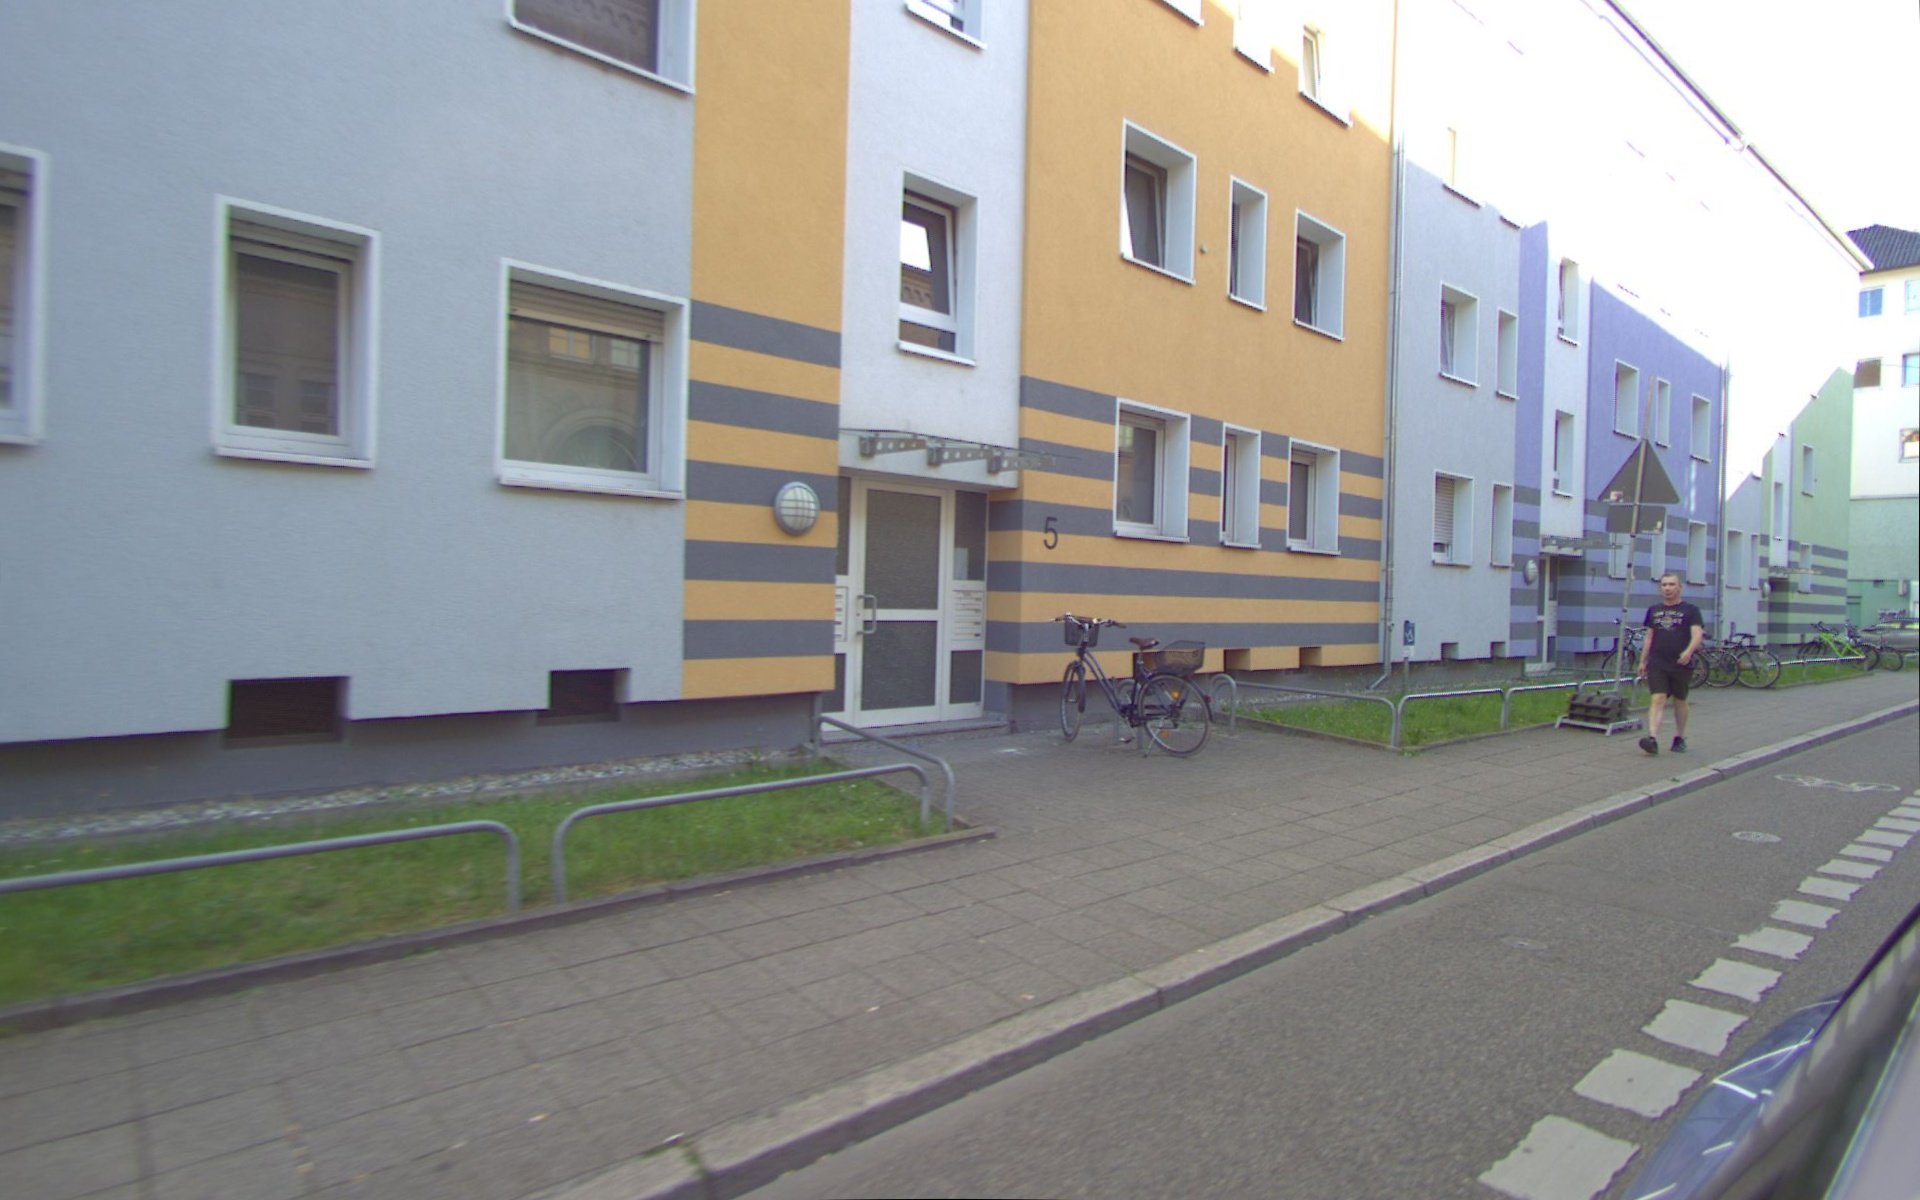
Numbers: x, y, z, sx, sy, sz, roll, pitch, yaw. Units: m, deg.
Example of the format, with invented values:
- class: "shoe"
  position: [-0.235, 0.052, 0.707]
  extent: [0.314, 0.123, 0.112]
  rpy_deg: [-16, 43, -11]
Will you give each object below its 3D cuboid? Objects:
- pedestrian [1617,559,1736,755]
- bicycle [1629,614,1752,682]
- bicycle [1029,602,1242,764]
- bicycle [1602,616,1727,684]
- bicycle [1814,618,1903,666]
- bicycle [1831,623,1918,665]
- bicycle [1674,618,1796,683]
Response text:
- class: "pedestrian"
  position: [7.088, 0.531, 10.016]
  extent: [0.899, 1.810, 0.646]
  rpy_deg: [1, 3, -41]
- class: "bicycle"
  position: [13.467, 0.858, 18.692]
  extent: [0.625, 1.095, 1.709]
  rpy_deg: [1, 2, -42]
- class: "bicycle"
  position: [1.460, 0.642, 8.643]
  extent: [1.707, 1.173, 0.626]
  rpy_deg: [3, 2, 45]
- class: "bicycle"
  position: [12.532, 0.859, 18.046]
  extent: [0.625, 1.058, 1.709]
  rpy_deg: [1, 2, -42]
- class: "bicycle"
  position: [23.668, 1.087, 26.680]
  extent: [1.707, 1.117, 0.575]
  rpy_deg: [3, 2, 45]
- class: "bicycle"
  position: [24.854, 1.173, 27.513]
  extent: [1.707, 0.990, 0.507]
  rpy_deg: [3, 2, 45]
- class: "bicycle"
  position: [14.381, 0.916, 18.814]
  extent: [1.707, 1.048, 0.626]
  rpy_deg: [3, 2, 45]
